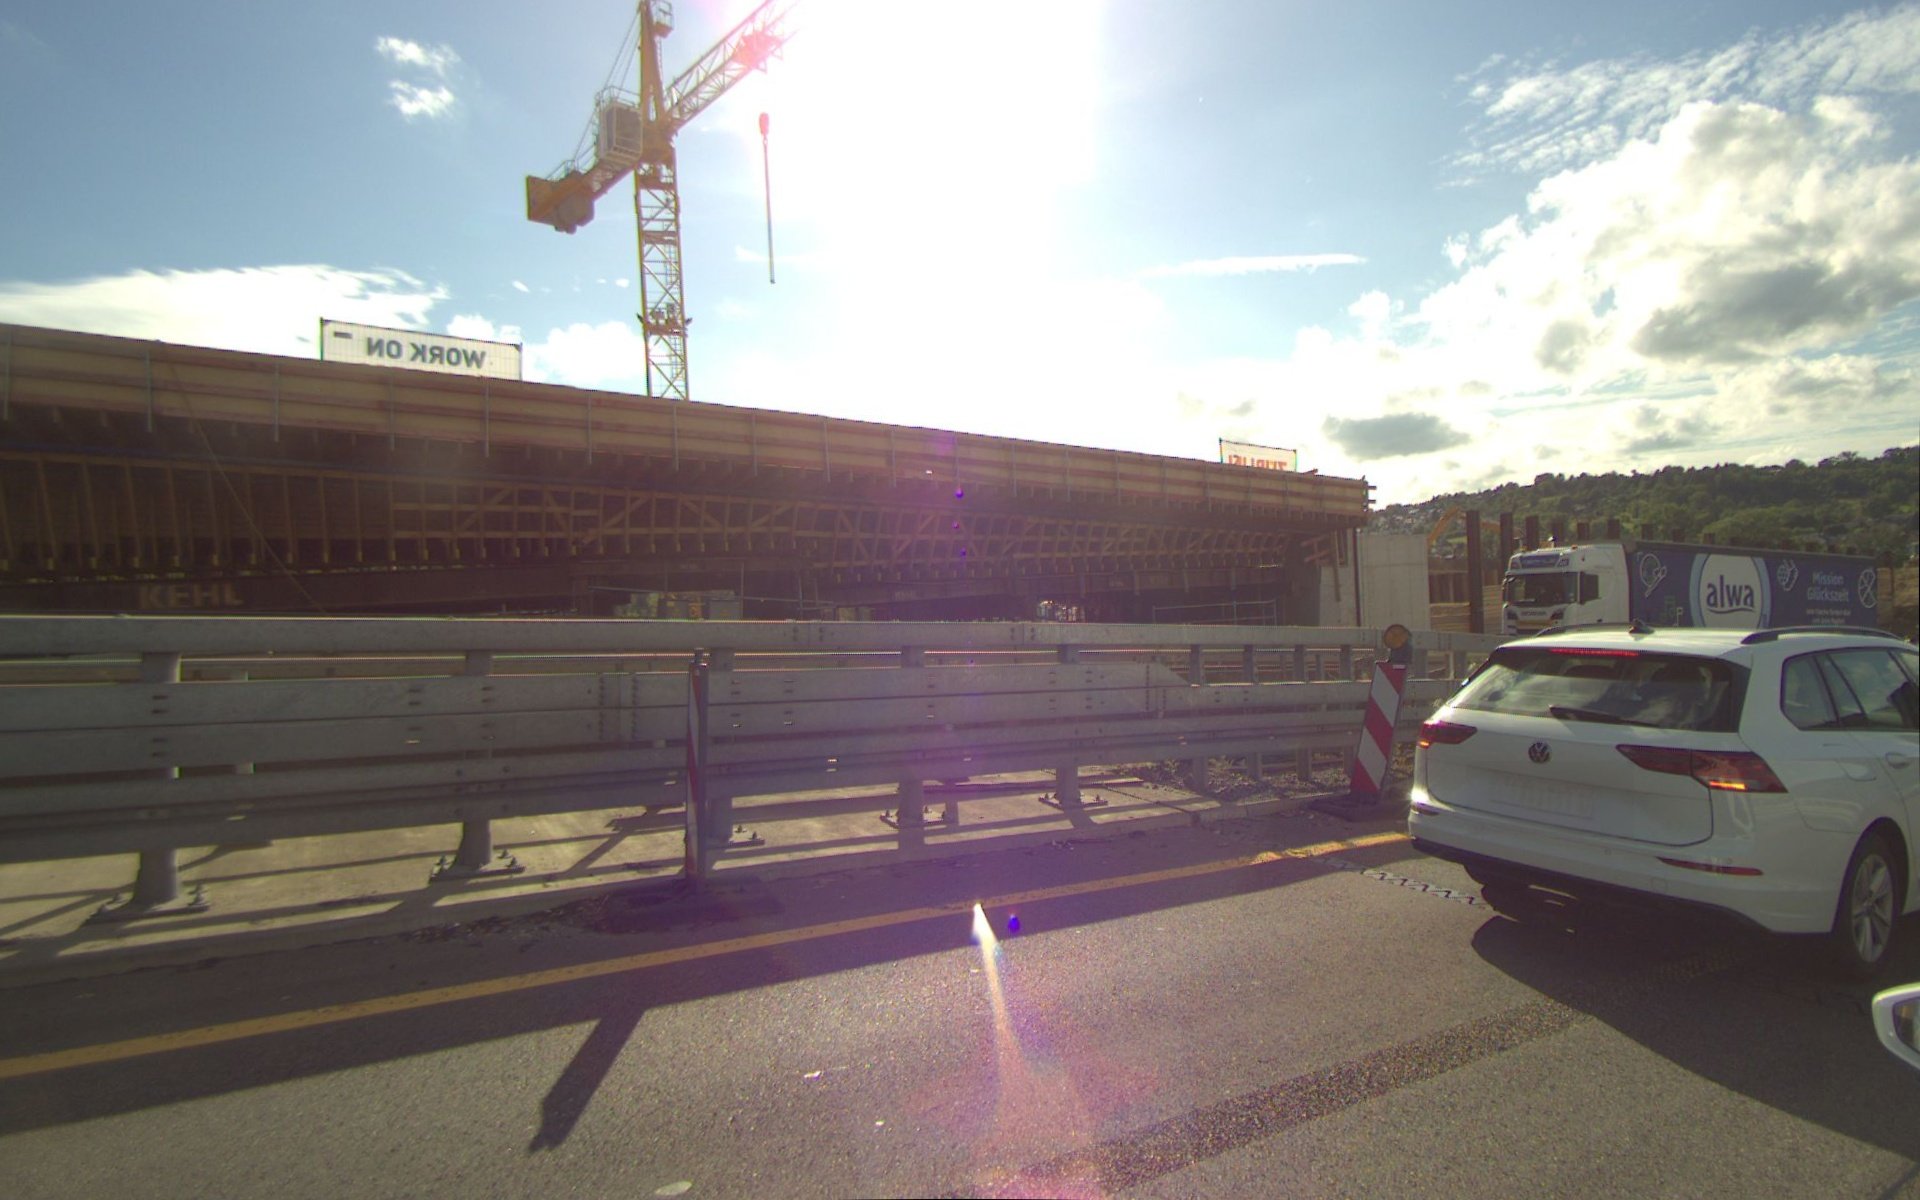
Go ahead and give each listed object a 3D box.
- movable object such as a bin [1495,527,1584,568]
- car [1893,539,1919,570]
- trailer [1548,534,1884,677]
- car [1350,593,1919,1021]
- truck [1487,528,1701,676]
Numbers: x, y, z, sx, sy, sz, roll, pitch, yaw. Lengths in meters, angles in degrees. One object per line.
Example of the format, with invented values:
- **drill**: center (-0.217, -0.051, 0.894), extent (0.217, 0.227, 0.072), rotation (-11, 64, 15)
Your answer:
- **movable object such as a bin**: center (54.537, -4.884, 94.699), extent (4.440, 3.314, 5.741), rotation (2, 0, -18)
- **car**: center (84.354, -3.966, 88.285), extent (5.261, 2.167, 1.984), rotation (2, -6, -31)
- **trailer**: center (25.793, 0.374, 33.930), extent (13.619, 4.211, 2.681), rotation (2, 0, -24)
- **car**: center (4.349, 0.856, 5.453), extent (4.463, 1.510, 1.762), rotation (3, -3, -30)
- **truck**: center (19.708, 0.134, 31.225), extent (5.886, 4.192, 2.705), rotation (2, 0, -23)
